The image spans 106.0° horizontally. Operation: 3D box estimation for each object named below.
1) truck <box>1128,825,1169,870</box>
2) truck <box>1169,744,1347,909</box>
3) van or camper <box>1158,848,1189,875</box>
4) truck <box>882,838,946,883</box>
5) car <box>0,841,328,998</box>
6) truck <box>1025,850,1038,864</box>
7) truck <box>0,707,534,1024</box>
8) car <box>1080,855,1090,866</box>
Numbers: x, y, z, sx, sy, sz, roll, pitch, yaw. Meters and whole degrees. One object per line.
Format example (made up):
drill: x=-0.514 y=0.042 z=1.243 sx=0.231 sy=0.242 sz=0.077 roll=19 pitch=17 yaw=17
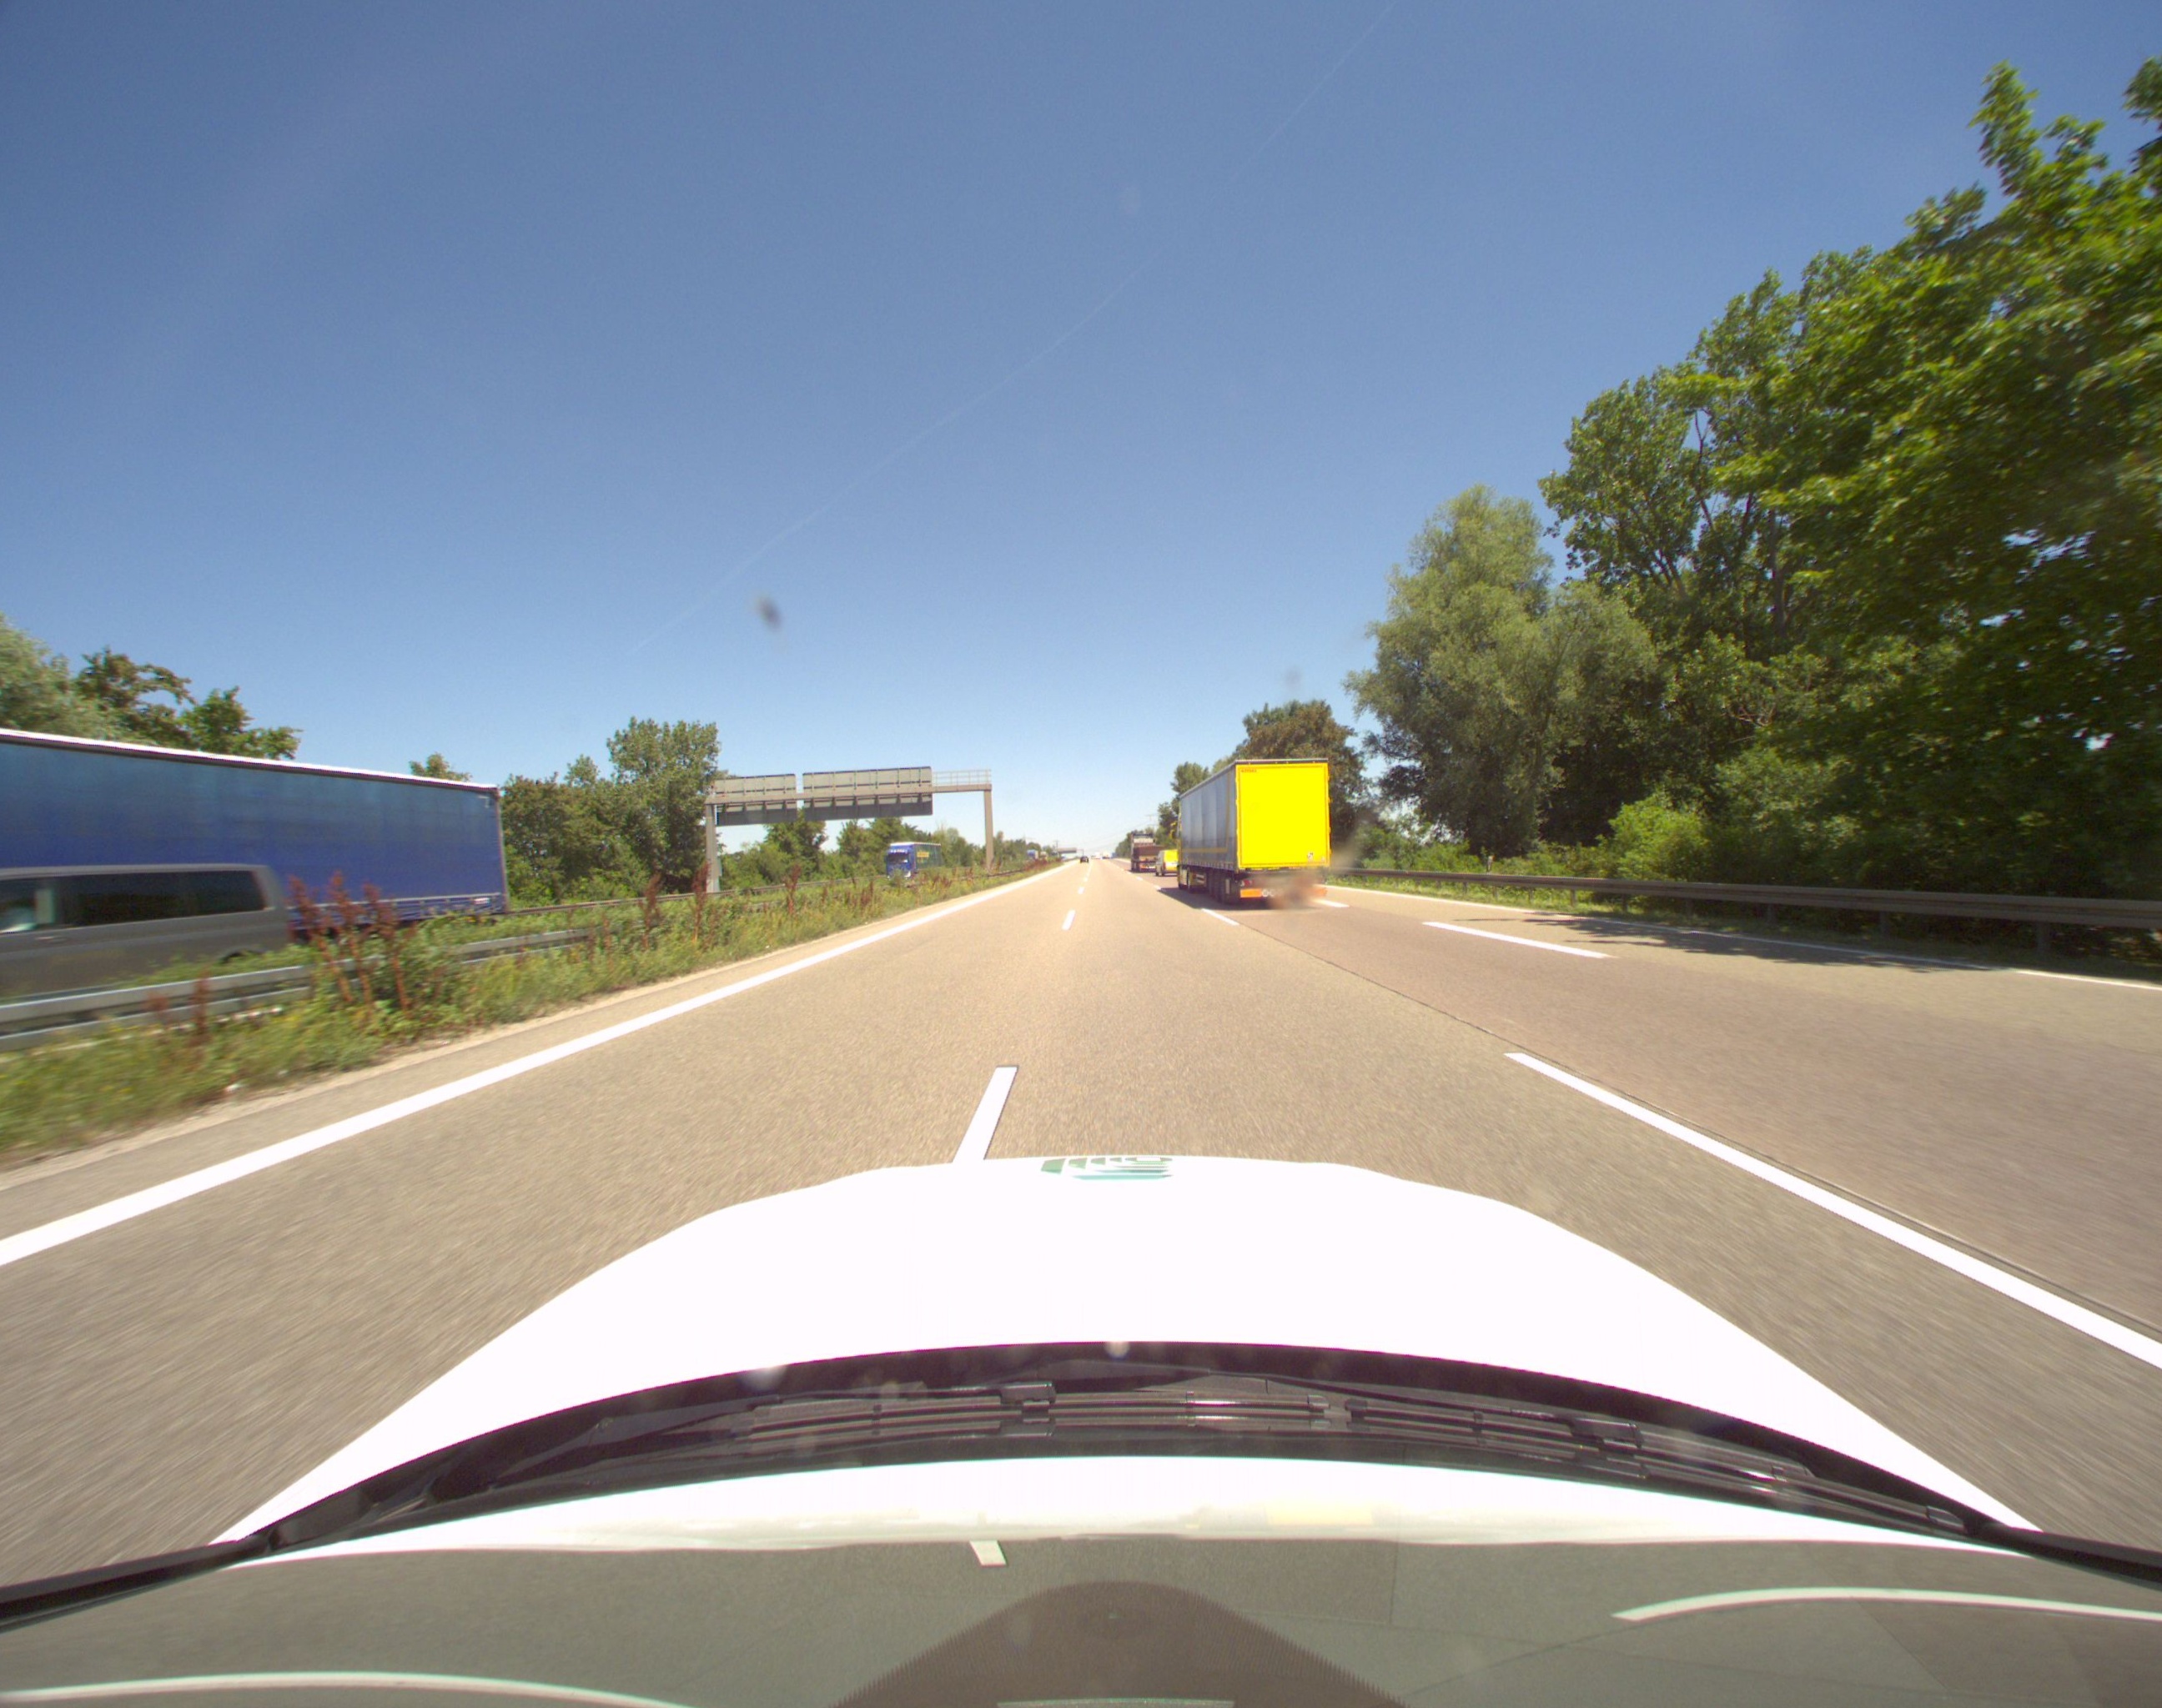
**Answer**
truck: x=6.477 y=-0.495 z=80.457 sx=2.958 sy=3.957 sz=16.616 roll=-1 pitch=-1 yaw=1
truck: x=5.605 y=-0.630 z=29.970 sx=2.836 sy=4.257 sz=16.789 roll=-3 pitch=-1 yaw=0
van or camper: x=6.890 y=0.564 z=61.095 sx=1.985 sy=1.909 sz=4.976 roll=-1 pitch=0 yaw=3
truck: x=-18.406 y=0.694 z=91.369 sx=2.945 sy=4.342 sz=18.241 roll=-3 pitch=0 yaw=1
car: x=-11.941 y=0.712 z=9.342 sx=1.986 sy=1.589 sz=4.819 roll=-3 pitch=0 yaw=1
truck: x=-15.901 y=1.001 z=263.159 sx=2.945 sy=4.342 sz=17.470 roll=-2 pitch=0 yaw=1
truck: x=-15.904 y=0.226 z=12.599 sx=2.945 sy=4.245 sz=17.181 roll=-3 pitch=0 yaw=1
car: x=0.835 y=1.335 z=168.683 sx=1.785 sy=2.013 sz=3.888 roll=-3 pitch=0 yaw=1
